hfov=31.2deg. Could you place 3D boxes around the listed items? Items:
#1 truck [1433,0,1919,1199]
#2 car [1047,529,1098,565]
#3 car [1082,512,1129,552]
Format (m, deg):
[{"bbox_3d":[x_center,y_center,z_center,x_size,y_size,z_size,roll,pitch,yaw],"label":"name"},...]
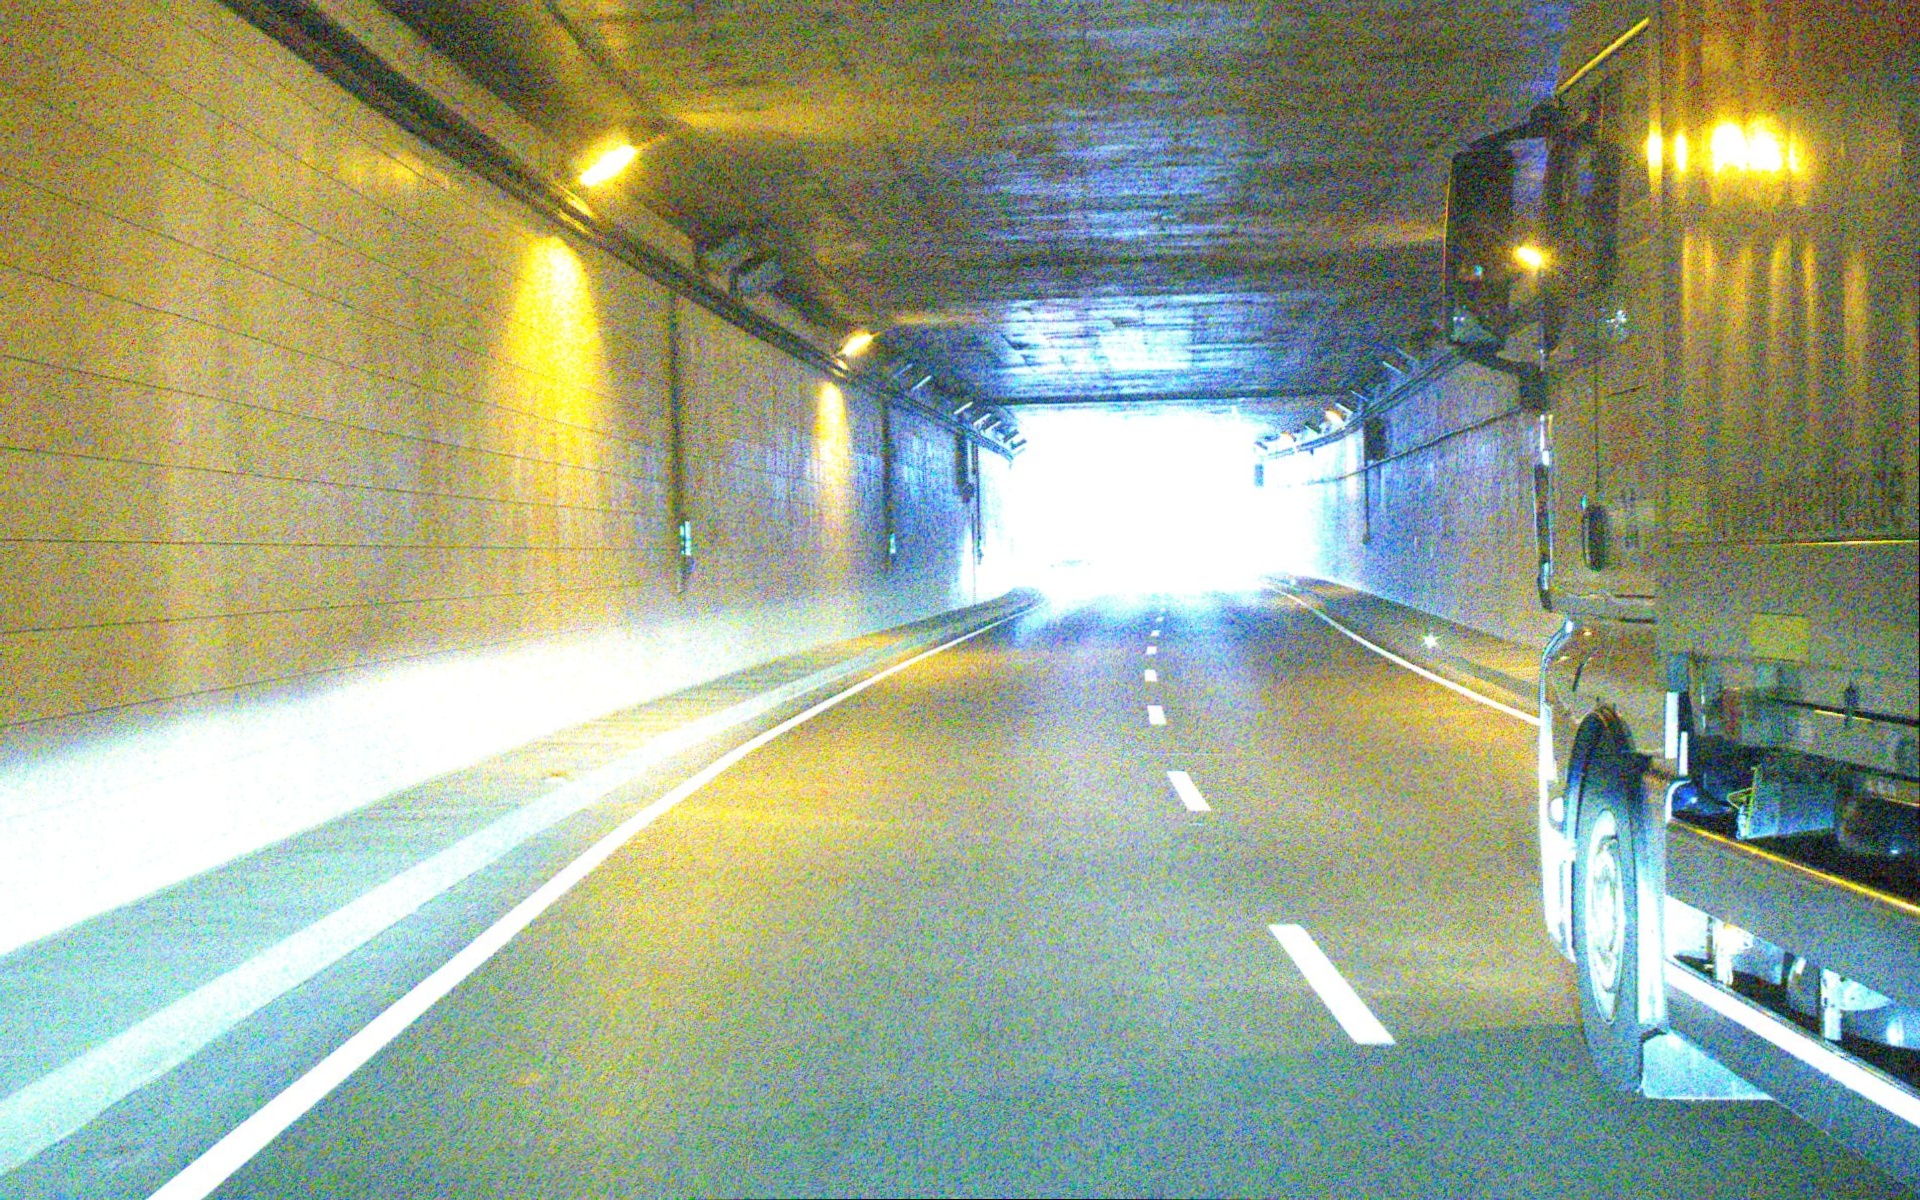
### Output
[{"bbox_3d":[3.026,-0.565,5.965,2.889,3.900,9.910,-1,1,-1],"label":"truck"},{"bbox_3d":[4.500,-2.121,137.445,1.841,1.384,3.999,-1,1,4],"label":"car"},{"bbox_3d":[6.526,-3.030,154.460,1.869,1.726,4.000,-1,1,0],"label":"car"}]
